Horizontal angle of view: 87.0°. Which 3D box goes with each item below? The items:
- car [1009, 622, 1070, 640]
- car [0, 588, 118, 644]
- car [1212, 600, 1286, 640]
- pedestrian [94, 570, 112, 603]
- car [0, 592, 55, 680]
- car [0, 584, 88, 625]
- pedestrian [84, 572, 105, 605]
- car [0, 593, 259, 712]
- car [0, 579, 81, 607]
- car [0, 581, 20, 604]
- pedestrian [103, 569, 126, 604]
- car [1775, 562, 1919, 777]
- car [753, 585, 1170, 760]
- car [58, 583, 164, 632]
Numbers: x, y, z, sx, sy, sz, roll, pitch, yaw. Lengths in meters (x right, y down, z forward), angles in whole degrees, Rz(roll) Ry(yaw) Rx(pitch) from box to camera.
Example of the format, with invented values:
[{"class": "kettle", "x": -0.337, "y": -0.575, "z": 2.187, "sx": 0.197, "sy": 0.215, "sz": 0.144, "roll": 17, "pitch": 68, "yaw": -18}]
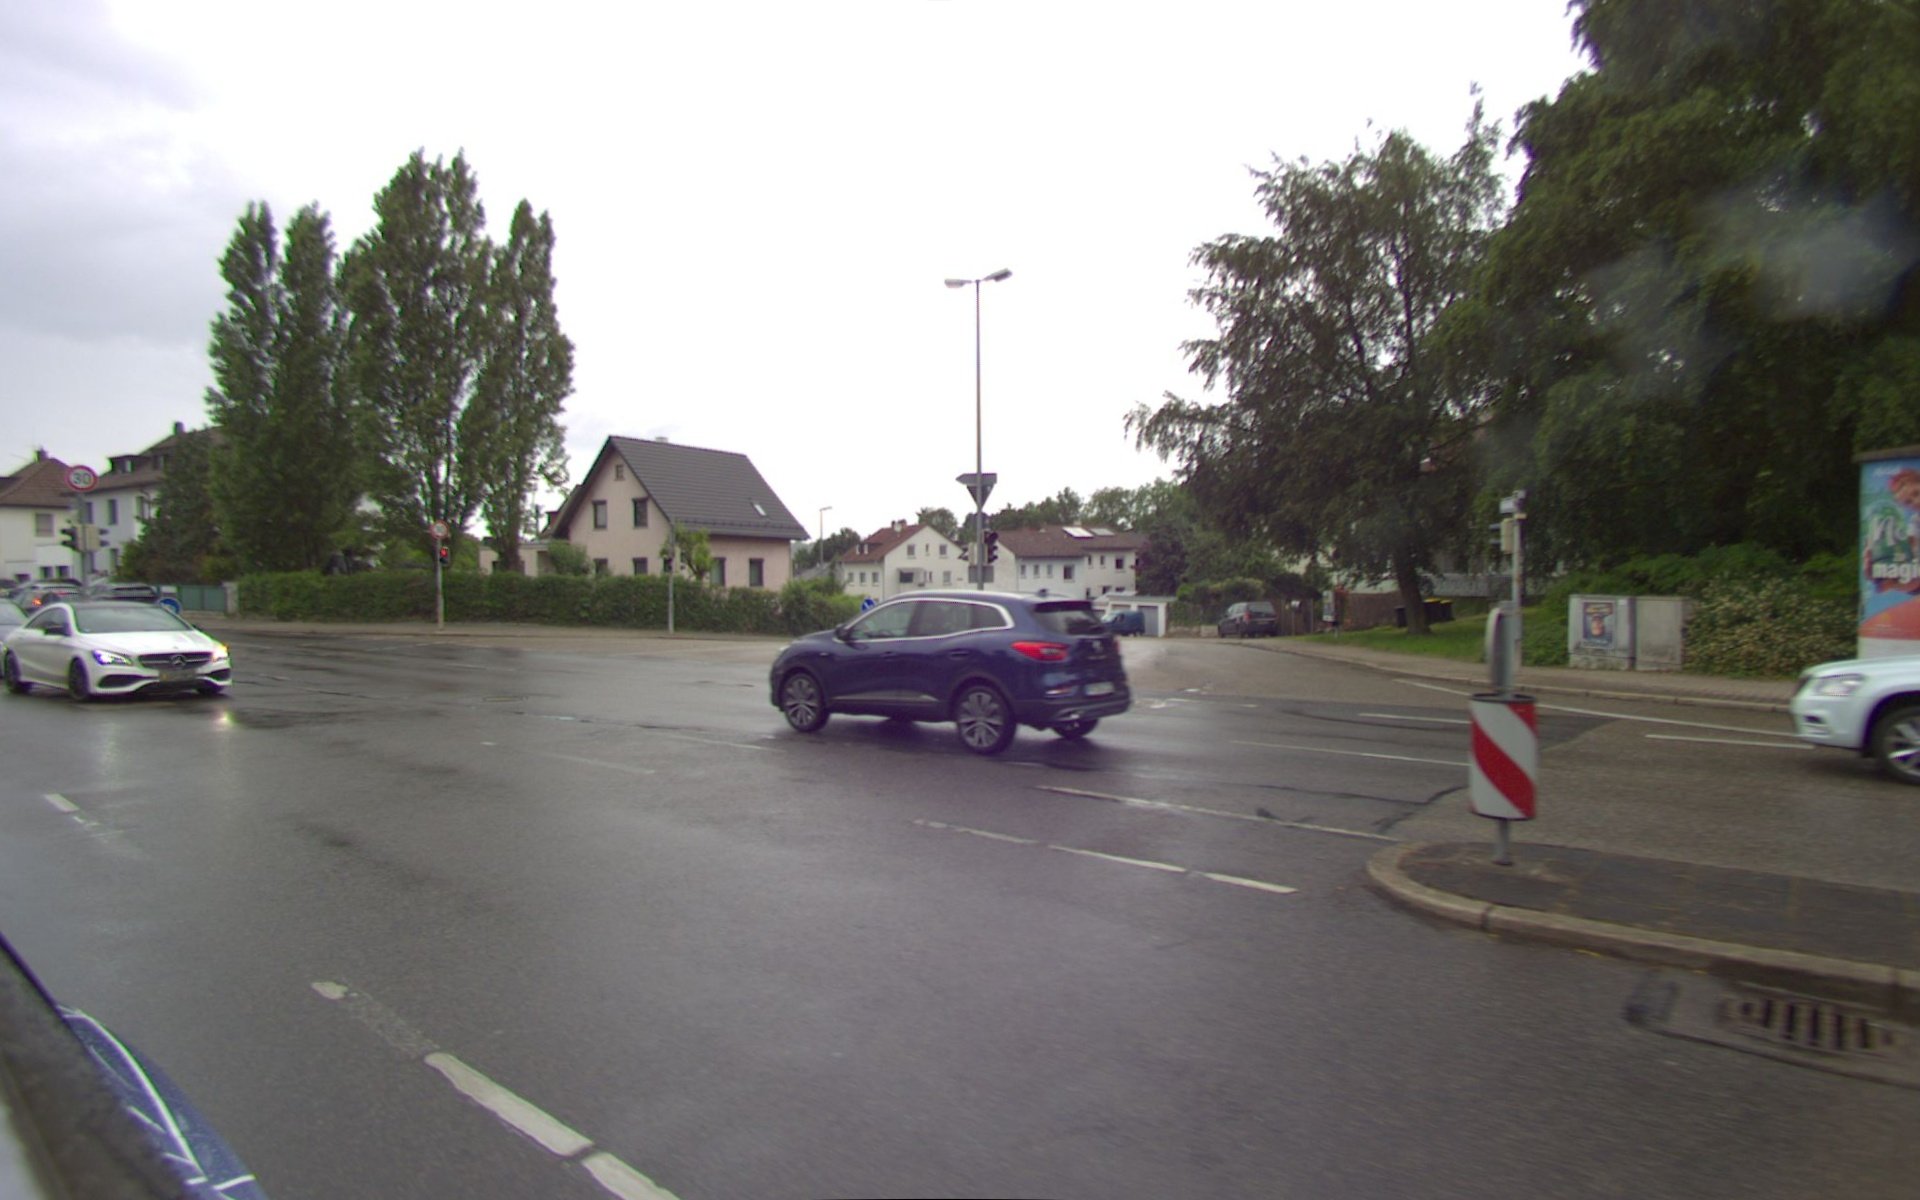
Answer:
[{"class": "car", "x": 5.800, "y": 2.245, "z": 73.811, "sx": 4.022, "sy": 1.298, "sz": 1.914, "roll": 1, "pitch": -1, "yaw": -24}, {"class": "car", "x": -28.543, "y": 0.469, "z": 31.829, "sx": 3.986, "sy": 1.586, "sz": 1.979, "roll": 1, "pitch": 0, "yaw": 31}, {"class": "car", "x": 13.293, "y": 0.907, "z": 46.834, "sx": 1.909, "sy": 1.717, "sz": 4.201, "roll": 1, "pitch": -1, "yaw": -5}, {"class": "pedestrian", "x": -48.710, "y": -0.766, "z": 57.530, "sx": 0.643, "sy": 1.800, "sz": 0.649, "roll": -3, "pitch": 2, "yaw": -34}, {"class": "car", "x": -18.582, "y": 0.624, "z": 18.918, "sx": 4.054, "sy": 1.498, "sz": 1.817, "roll": 1, "pitch": 1, "yaw": 38}, {"class": "car", "x": -37.881, "y": 0.155, "z": 41.755, "sx": 4.130, "sy": 1.580, "sz": 1.791, "roll": 2, "pitch": 1, "yaw": 32}, {"class": "pedestrian", "x": -47.441, "y": -0.637, "z": 55.499, "sx": 0.538, "sy": 1.801, "sz": 0.663, "roll": 1, "pitch": 4, "yaw": 35}, {"class": "car", "x": -13.003, "y": 0.685, "z": 15.542, "sx": 4.633, "sy": 1.540, "sz": 1.895, "roll": 1, "pitch": 1, "yaw": 30}, {"class": "car", "x": -52.883, "y": -0.426, "z": 57.554, "sx": 1.878, "sy": 1.430, "sz": 3.958, "roll": 1, "pitch": 3, "yaw": 32}, {"class": "car", "x": -61.504, "y": -0.435, "z": 62.943, "sx": 1.878, "sy": 1.430, "sz": 4.068, "roll": 1, "pitch": 2, "yaw": 32}, {"class": "pedestrian", "x": -46.564, "y": -0.738, "z": 55.754, "sx": 0.685, "sy": 1.880, "sz": 0.726, "roll": 1, "pitch": 4, "yaw": 37}, {"class": "car", "x": 9.040, "y": 0.553, "z": 7.576, "sx": 4.467, "sy": 1.669, "sz": 1.803, "roll": 0, "pitch": 0, "yaw": 43}, {"class": "car", "x": -0.105, "y": 0.641, "z": 11.101, "sx": 4.377, "sy": 1.564, "sz": 1.824, "roll": 0, "pitch": 0, "yaw": 37}, {"class": "car", "x": -31.911, "y": 0.242, "z": 38.010, "sx": 4.584, "sy": 1.682, "sz": 1.791, "roll": 2, "pitch": 1, "yaw": 32}]
